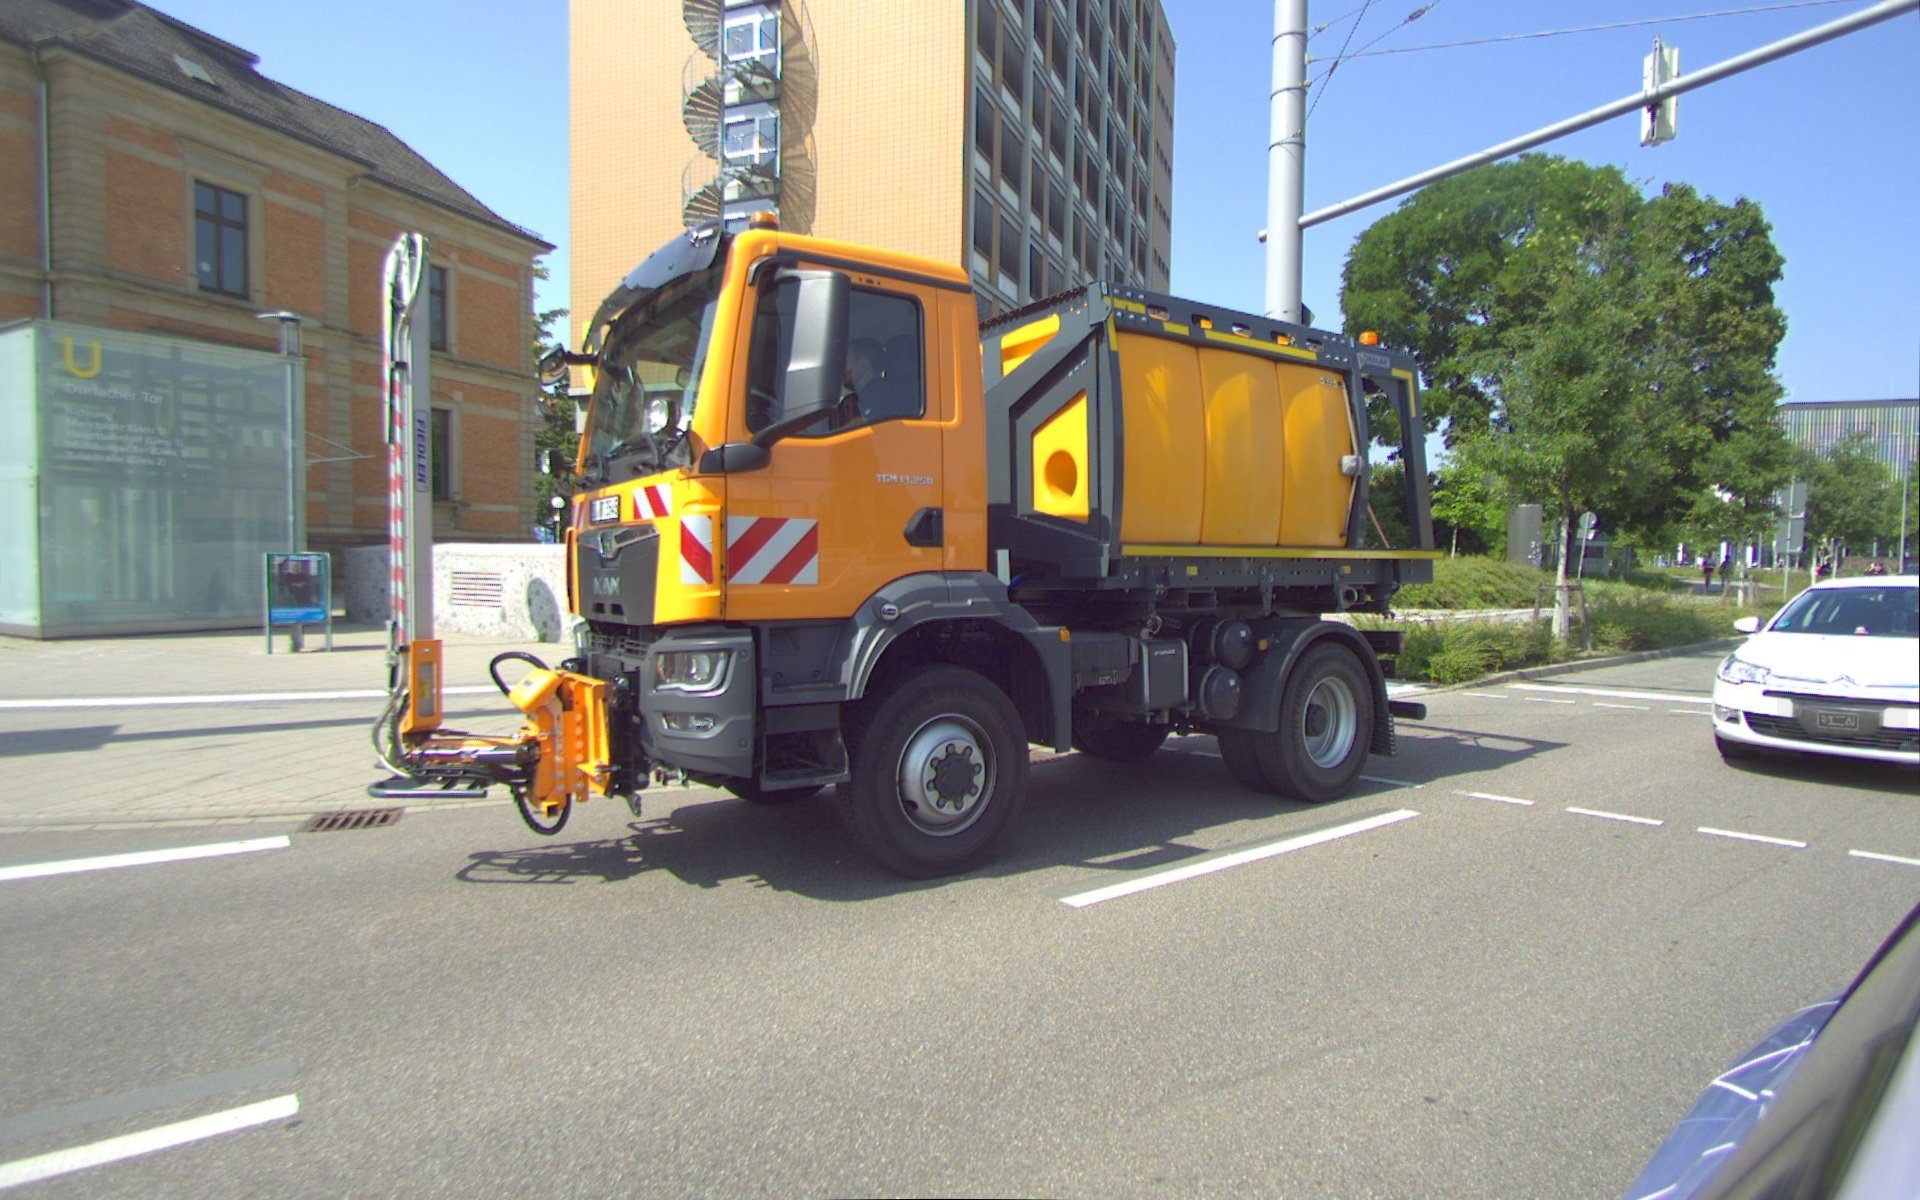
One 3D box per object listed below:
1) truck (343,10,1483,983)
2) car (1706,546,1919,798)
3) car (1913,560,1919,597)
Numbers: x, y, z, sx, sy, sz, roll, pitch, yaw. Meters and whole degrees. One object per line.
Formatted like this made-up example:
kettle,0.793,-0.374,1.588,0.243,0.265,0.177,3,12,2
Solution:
truck,0.156,-0.426,6.720,7.056,3.269,3.042,-1,2,-36
car,7.830,0.392,8.225,4.521,1.638,1.770,-2,2,-39
car,38.596,-0.856,39.766,1.612,1.440,3.551,3,4,43
